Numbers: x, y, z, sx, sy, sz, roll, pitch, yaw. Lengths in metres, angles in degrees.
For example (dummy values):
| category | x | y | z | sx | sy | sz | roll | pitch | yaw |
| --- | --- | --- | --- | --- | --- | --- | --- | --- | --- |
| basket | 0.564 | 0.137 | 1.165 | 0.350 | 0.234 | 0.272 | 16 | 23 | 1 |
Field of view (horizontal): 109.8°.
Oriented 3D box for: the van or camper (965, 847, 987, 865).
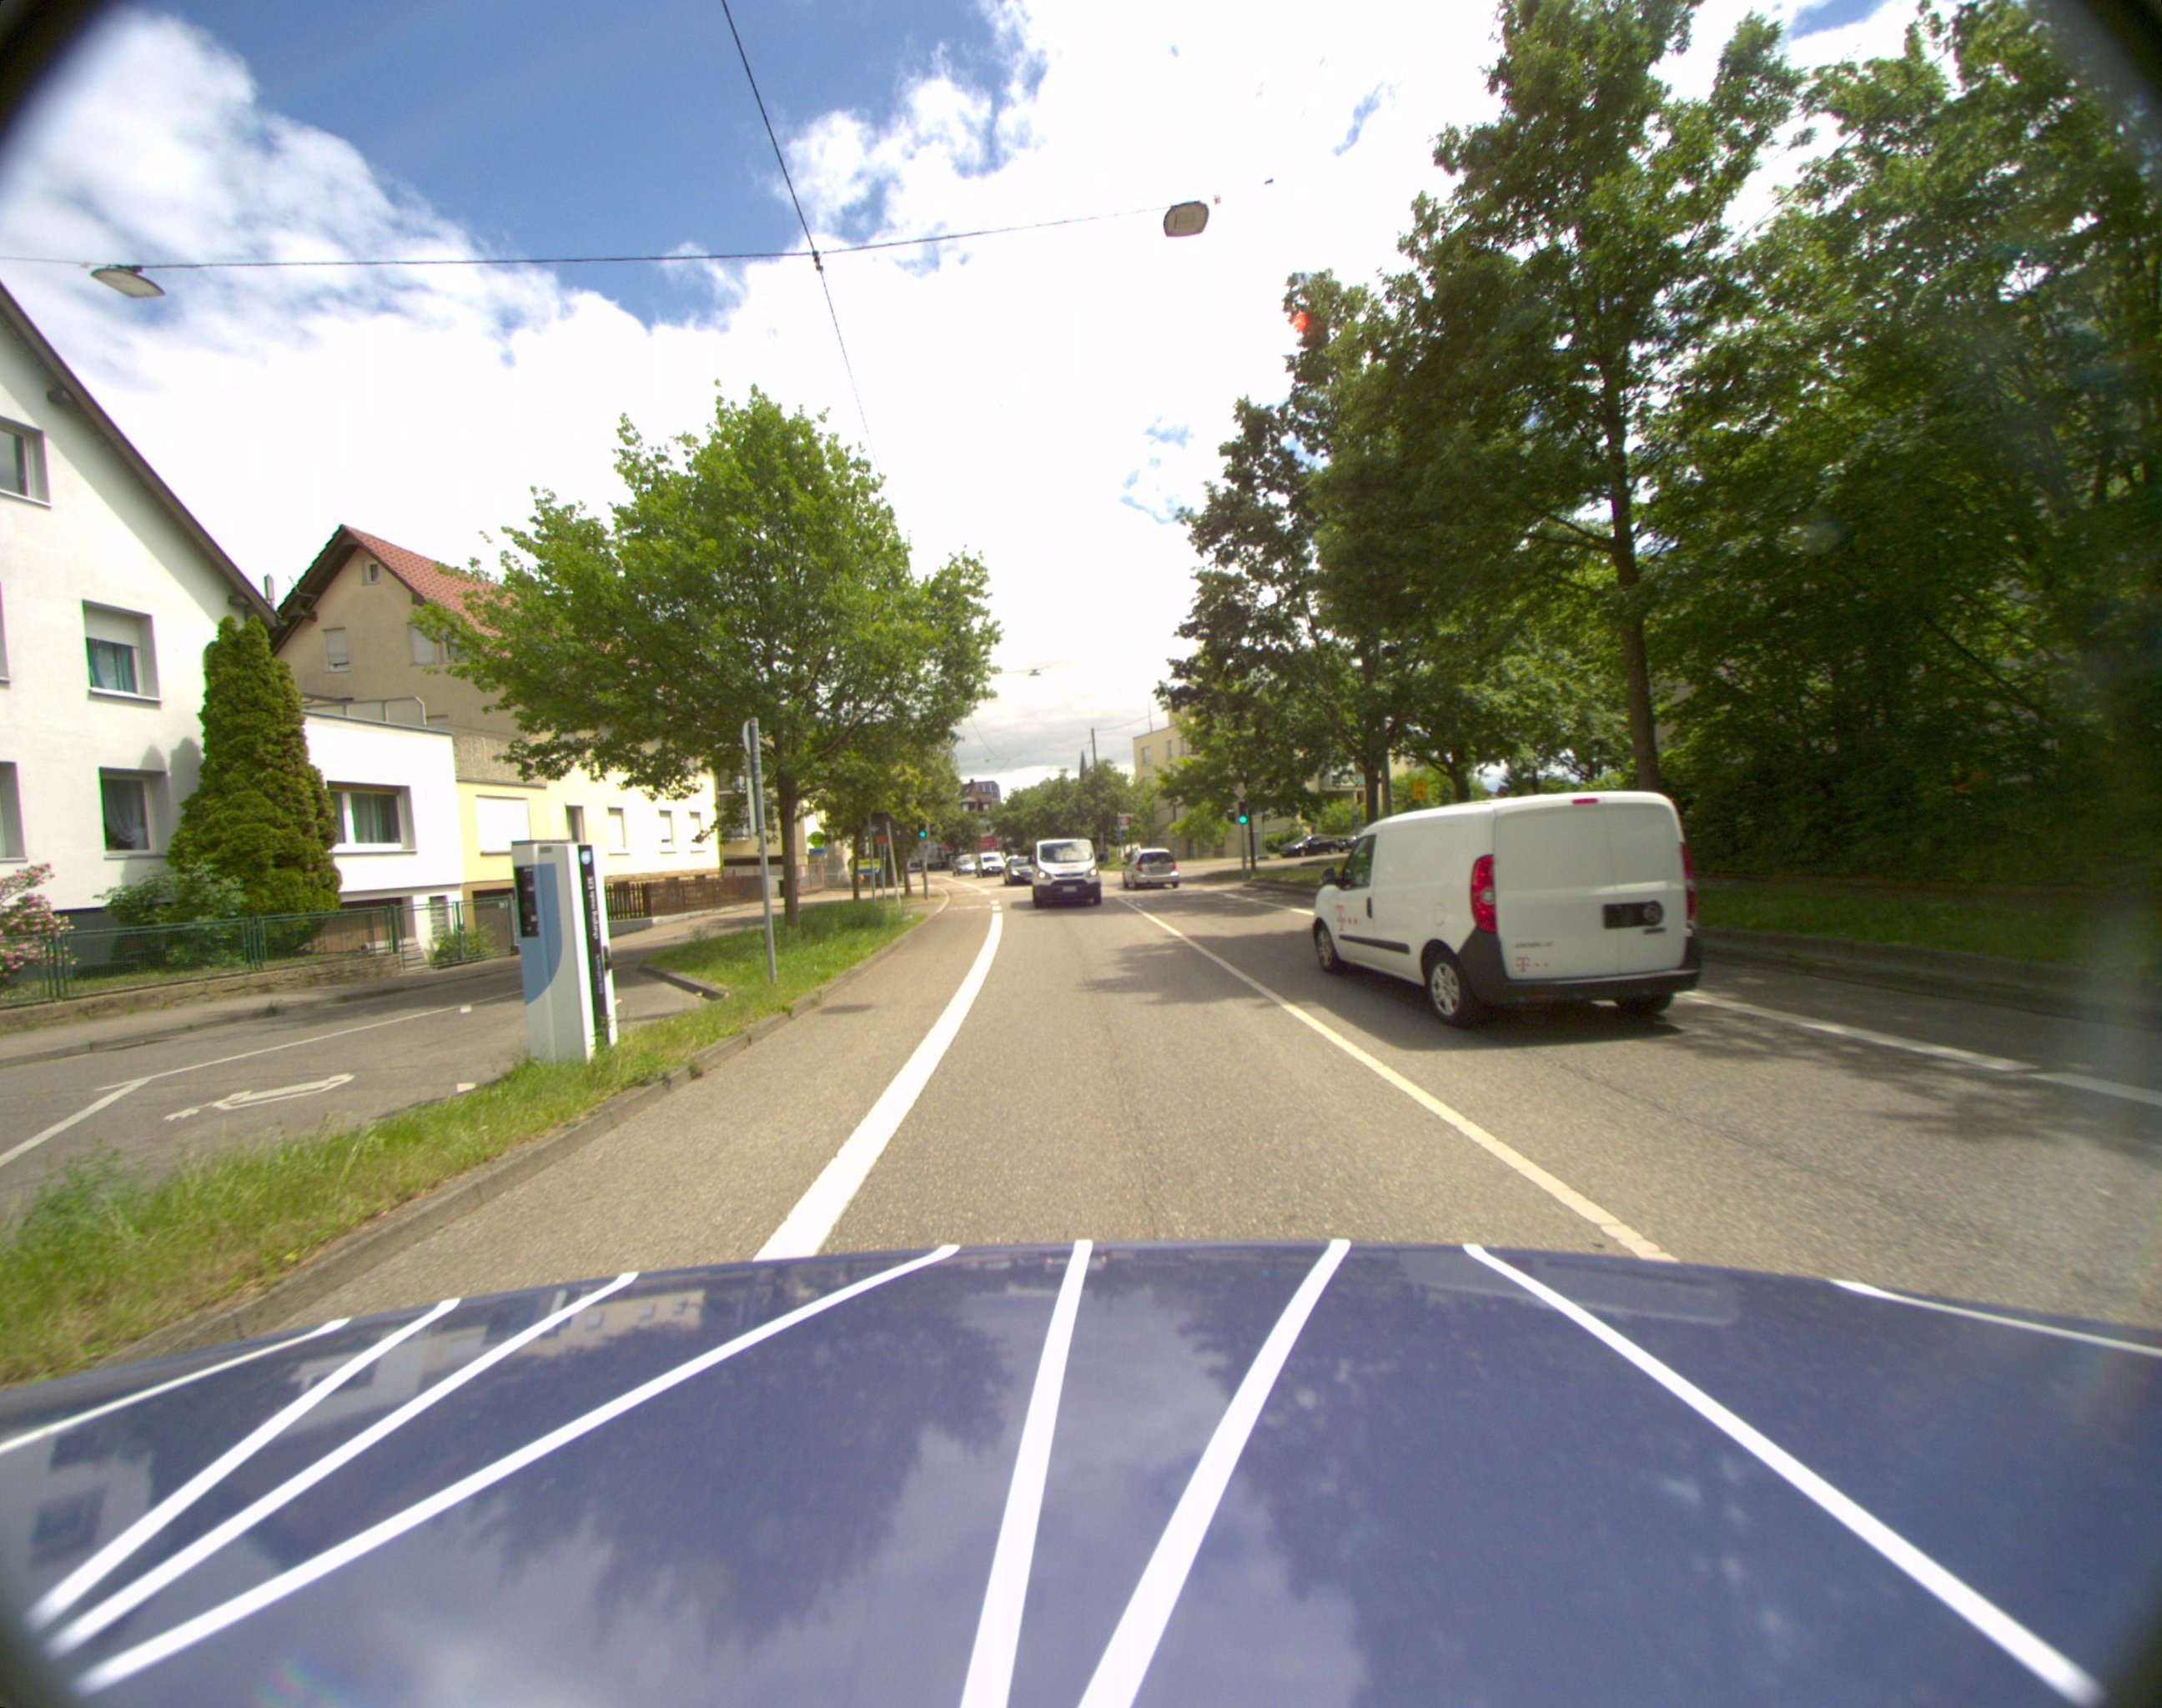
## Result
| category | x | y | z | sx | sy | sz | roll | pitch | yaw |
| --- | --- | --- | --- | --- | --- | --- | --- | --- | --- |
| van or camper | -11.543 | 0.220 | 83.225 | 1.867 | 1.766 | 4.375 | -4 | 1 | -14 |

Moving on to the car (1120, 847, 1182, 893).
| category | x | y | z | sx | sy | sz | roll | pitch | yaw |
| --- | --- | --- | --- | --- | --- | --- | --- | --- | --- |
| car | 2.755 | 0.593 | 30.723 | 1.713 | 1.609 | 3.998 | -5 | 1 | -5 |

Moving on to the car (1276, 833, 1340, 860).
| category | x | y | z | sx | sy | sz | roll | pitch | yaw |
| --- | --- | --- | --- | --- | --- | --- | --- | --- | --- |
| car | 15.713 | -0.544 | 52.528 | 4.156 | 1.390 | 1.734 | -7 | 2 | -28 |

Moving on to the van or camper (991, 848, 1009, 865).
| category | x | y | z | sx | sy | sz | roll | pitch | yaw |
| --- | --- | --- | --- | --- | --- | --- | --- | --- | --- |
| van or camper | -11.302 | 0.351 | 105.740 | 1.795 | 2.077 | 3.806 | -7 | 2 | -14 |

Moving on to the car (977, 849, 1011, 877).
| category | x | y | z | sx | sy | sz | roll | pitch | yaw |
| --- | --- | --- | --- | --- | --- | --- | --- | --- | --- |
| car | -6.666 | 0.657 | 57.714 | 1.854 | 1.806 | 3.994 | -7 | 2 | -15 |

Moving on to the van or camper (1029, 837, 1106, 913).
| category | x | y | z | sx | sy | sz | roll | pitch | yaw |
| --- | --- | --- | --- | --- | --- | --- | --- | --- | --- |
| van or camper | -0.513 | 0.567 | 23.856 | 2.027 | 2.002 | 5.101 | -4 | 1 | -3 |

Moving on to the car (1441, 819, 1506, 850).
| category | x | y | z | sx | sy | sz | roll | pitch | yaw |
| --- | --- | --- | --- | --- | --- | --- | --- | --- | --- |
| car | 24.596 | -1.221 | 47.602 | 4.006 | 1.833 | 1.841 | -2 | 0 | -33 |

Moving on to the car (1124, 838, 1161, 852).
| category | x | y | z | sx | sy | sz | roll | pitch | yaw |
| --- | --- | --- | --- | --- | --- | --- | --- | --- | --- |
| car | 6.826 | -1.019 | 84.247 | 4.008 | 1.411 | 1.789 | -2 | -1 | -45 |

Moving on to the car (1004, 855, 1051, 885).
| category | x | y | z | sx | sy | sz | roll | pitch | yaw |
| --- | --- | --- | --- | --- | --- | --- | --- | --- | --- |
| car | -2.853 | 0.816 | 39.685 | 1.842 | 1.382 | 3.996 | -3 | -1 | -12 |

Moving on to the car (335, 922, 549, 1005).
| category | x | y | z | sx | sy | sz | roll | pitch | yaw |
| --- | --- | --- | --- | --- | --- | --- | --- | --- | --- |
| car | -14.870 | 2.489 | 18.000 | 1.465 | 1.118 | 3.871 | -6 | 2 | 5 |

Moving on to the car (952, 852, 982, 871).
| category | x | y | z | sx | sy | sz | roll | pitch | yaw |
| --- | --- | --- | --- | --- | --- | --- | --- | --- | --- |
| car | -10.464 | 0.700 | 69.539 | 1.695 | 1.478 | 3.993 | -7 | 2 | -21 |

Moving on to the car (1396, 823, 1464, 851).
| category | x | y | z | sx | sy | sz | roll | pitch | yaw |
| --- | --- | --- | --- | --- | --- | --- | --- | --- | --- |
| car | 20.756 | -1.024 | 45.155 | 4.005 | 1.445 | 1.692 | -4 | 4 | -30 |

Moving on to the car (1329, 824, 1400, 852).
| category | x | y | z | sx | sy | sz | roll | pitch | yaw |
| --- | --- | --- | --- | --- | --- | --- | --- | --- | --- |
| car | 20.478 | -1.167 | 54.861 | 4.797 | 1.594 | 2.097 | -6 | 4 | -28 |

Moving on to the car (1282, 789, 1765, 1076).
| category | x | y | z | sx | sy | sz | roll | pitch | yaw |
| --- | --- | --- | --- | --- | --- | --- | --- | --- | --- |
| car | 3.675 | 0.529 | 7.523 | 1.853 | 1.864 | 4.592 | -3 | 0 | -3 |
